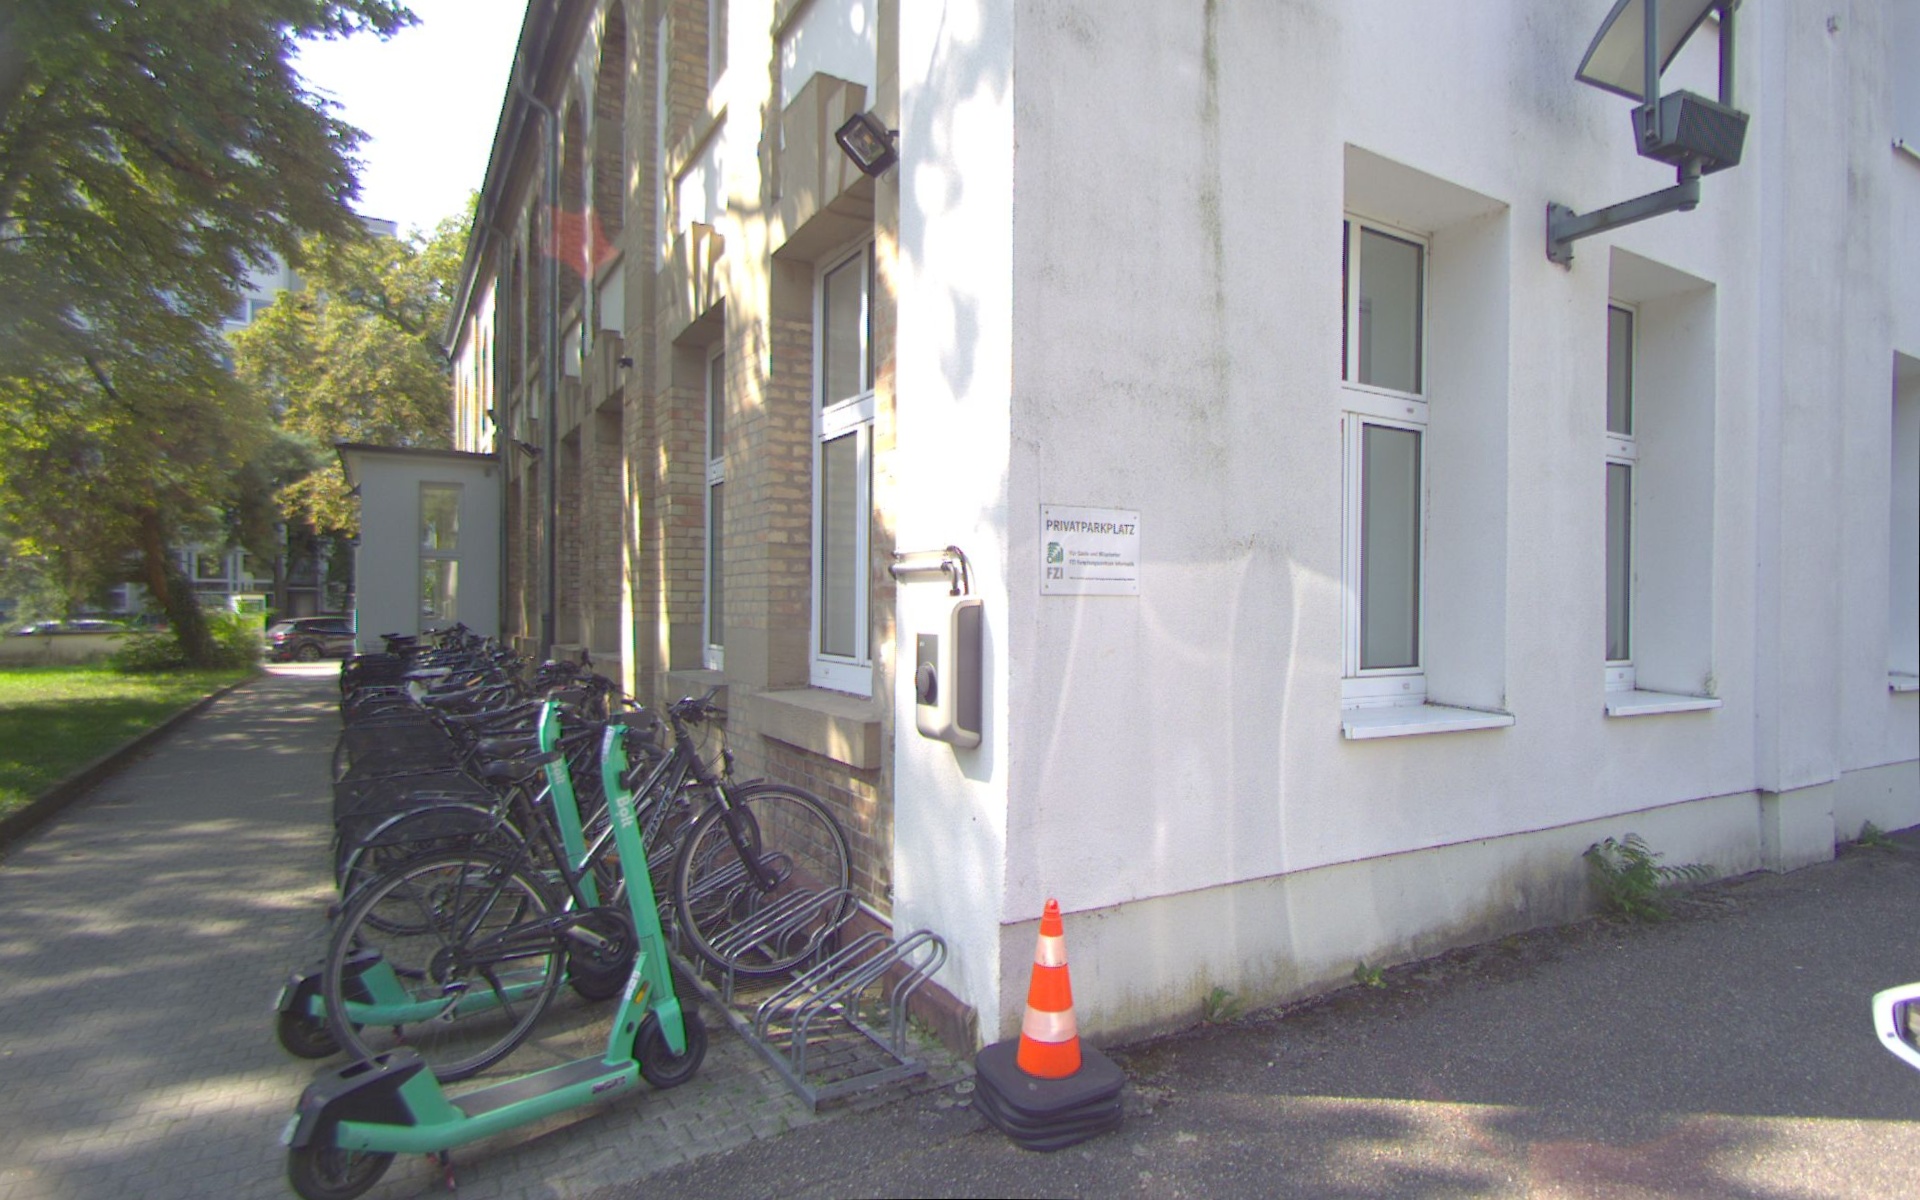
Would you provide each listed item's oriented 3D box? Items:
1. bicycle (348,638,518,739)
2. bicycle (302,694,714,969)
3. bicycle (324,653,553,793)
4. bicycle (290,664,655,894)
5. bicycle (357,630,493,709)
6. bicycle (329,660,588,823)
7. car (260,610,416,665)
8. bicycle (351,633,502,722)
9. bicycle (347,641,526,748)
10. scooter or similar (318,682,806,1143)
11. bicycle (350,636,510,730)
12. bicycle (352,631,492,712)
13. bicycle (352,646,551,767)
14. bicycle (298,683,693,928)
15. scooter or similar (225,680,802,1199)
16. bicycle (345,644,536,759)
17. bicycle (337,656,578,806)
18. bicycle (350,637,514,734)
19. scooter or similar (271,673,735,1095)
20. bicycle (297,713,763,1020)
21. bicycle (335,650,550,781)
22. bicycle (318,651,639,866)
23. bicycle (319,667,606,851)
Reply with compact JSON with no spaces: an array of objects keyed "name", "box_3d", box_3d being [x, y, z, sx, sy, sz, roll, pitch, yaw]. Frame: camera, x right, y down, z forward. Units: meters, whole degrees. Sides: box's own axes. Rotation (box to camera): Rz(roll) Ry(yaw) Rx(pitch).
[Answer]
[{"name":"bicycle","box_3d":[-6.129,1.006,11.728,1.727,1.098,0.322,1,0,-33]},{"name":"bicycle","box_3d":[-2.141,1.050,4.931,1.799,1.094,0.322,1,0,-33]},{"name":"bicycle","box_3d":[-4.476,1.024,8.699,1.727,1.098,0.322,1,0,-33]},{"name":"bicycle","box_3d":[-2.807,0.984,5.938,1.895,1.164,0.322,1,0,-33]},{"name":"bicycle","box_3d":[-7.761,0.988,14.612,1.727,1.098,0.322,1,0,-33]},{"name":"bicycle","box_3d":[-3.780,1.032,7.656,1.727,1.098,0.322,1,0,-33]},{"name":"car","box_3d":[-19.428,1.117,31.511,1.700,1.564,3.810,0,0,32]},{"name":"bicycle","box_3d":[-7.010,0.996,13.251,1.727,1.098,0.322,1,0,-33]},{"name":"bicycle","box_3d":[-5.767,1.010,11.121,1.727,1.098,0.322,1,0,-33]},{"name":"scooter or similar","box_3d":[-1.278,0.932,3.392,1.479,1.247,0.322,1,0,-33]},{"name":"bicycle","box_3d":[-6.550,1.001,12.456,1.727,1.098,0.322,1,0,-33]},{"name":"bicycle","box_3d":[-7.595,0.990,14.220,1.727,1.098,0.322,1,0,-33]},{"name":"bicycle","box_3d":[-5.010,1.019,9.952,1.727,1.098,0.322,1,0,-33]},{"name":"bicycle","box_3d":[-2.427,1.032,5.423,1.891,1.089,0.322,1,0,-33]},{"name":"scooter or similar","box_3d":[-1.150,0.916,2.877,0.380,1.279,1.489,1,0,39]},{"name":"bicycle","box_3d":[-5.351,1.015,10.405,1.727,1.098,0.322,1,0,-33]},{"name":"bicycle","box_3d":[-4.079,1.029,8.232,1.727,1.098,0.322,1,0,-33]},{"name":"bicycle","box_3d":[-6.337,1.004,12.105,1.727,1.098,0.322,1,0,-33]},{"name":"scooter or similar","box_3d":[-1.594,0.923,3.657,1.479,1.256,0.322,1,0,-33]},{"name":"bicycle","box_3d":[-1.749,1.043,4.284,1.781,1.010,0.322,1,0,-33]},{"name":"bicycle","box_3d":[-4.718,1.021,9.228,1.727,1.098,0.322,1,0,-33]},{"name":"bicycle","box_3d":[-3.015,0.946,6.409,1.805,1.204,0.322,1,0,-33]},{"name":"bicycle","box_3d":[-3.372,1.036,6.904,1.727,1.098,0.322,1,0,-33]}]
